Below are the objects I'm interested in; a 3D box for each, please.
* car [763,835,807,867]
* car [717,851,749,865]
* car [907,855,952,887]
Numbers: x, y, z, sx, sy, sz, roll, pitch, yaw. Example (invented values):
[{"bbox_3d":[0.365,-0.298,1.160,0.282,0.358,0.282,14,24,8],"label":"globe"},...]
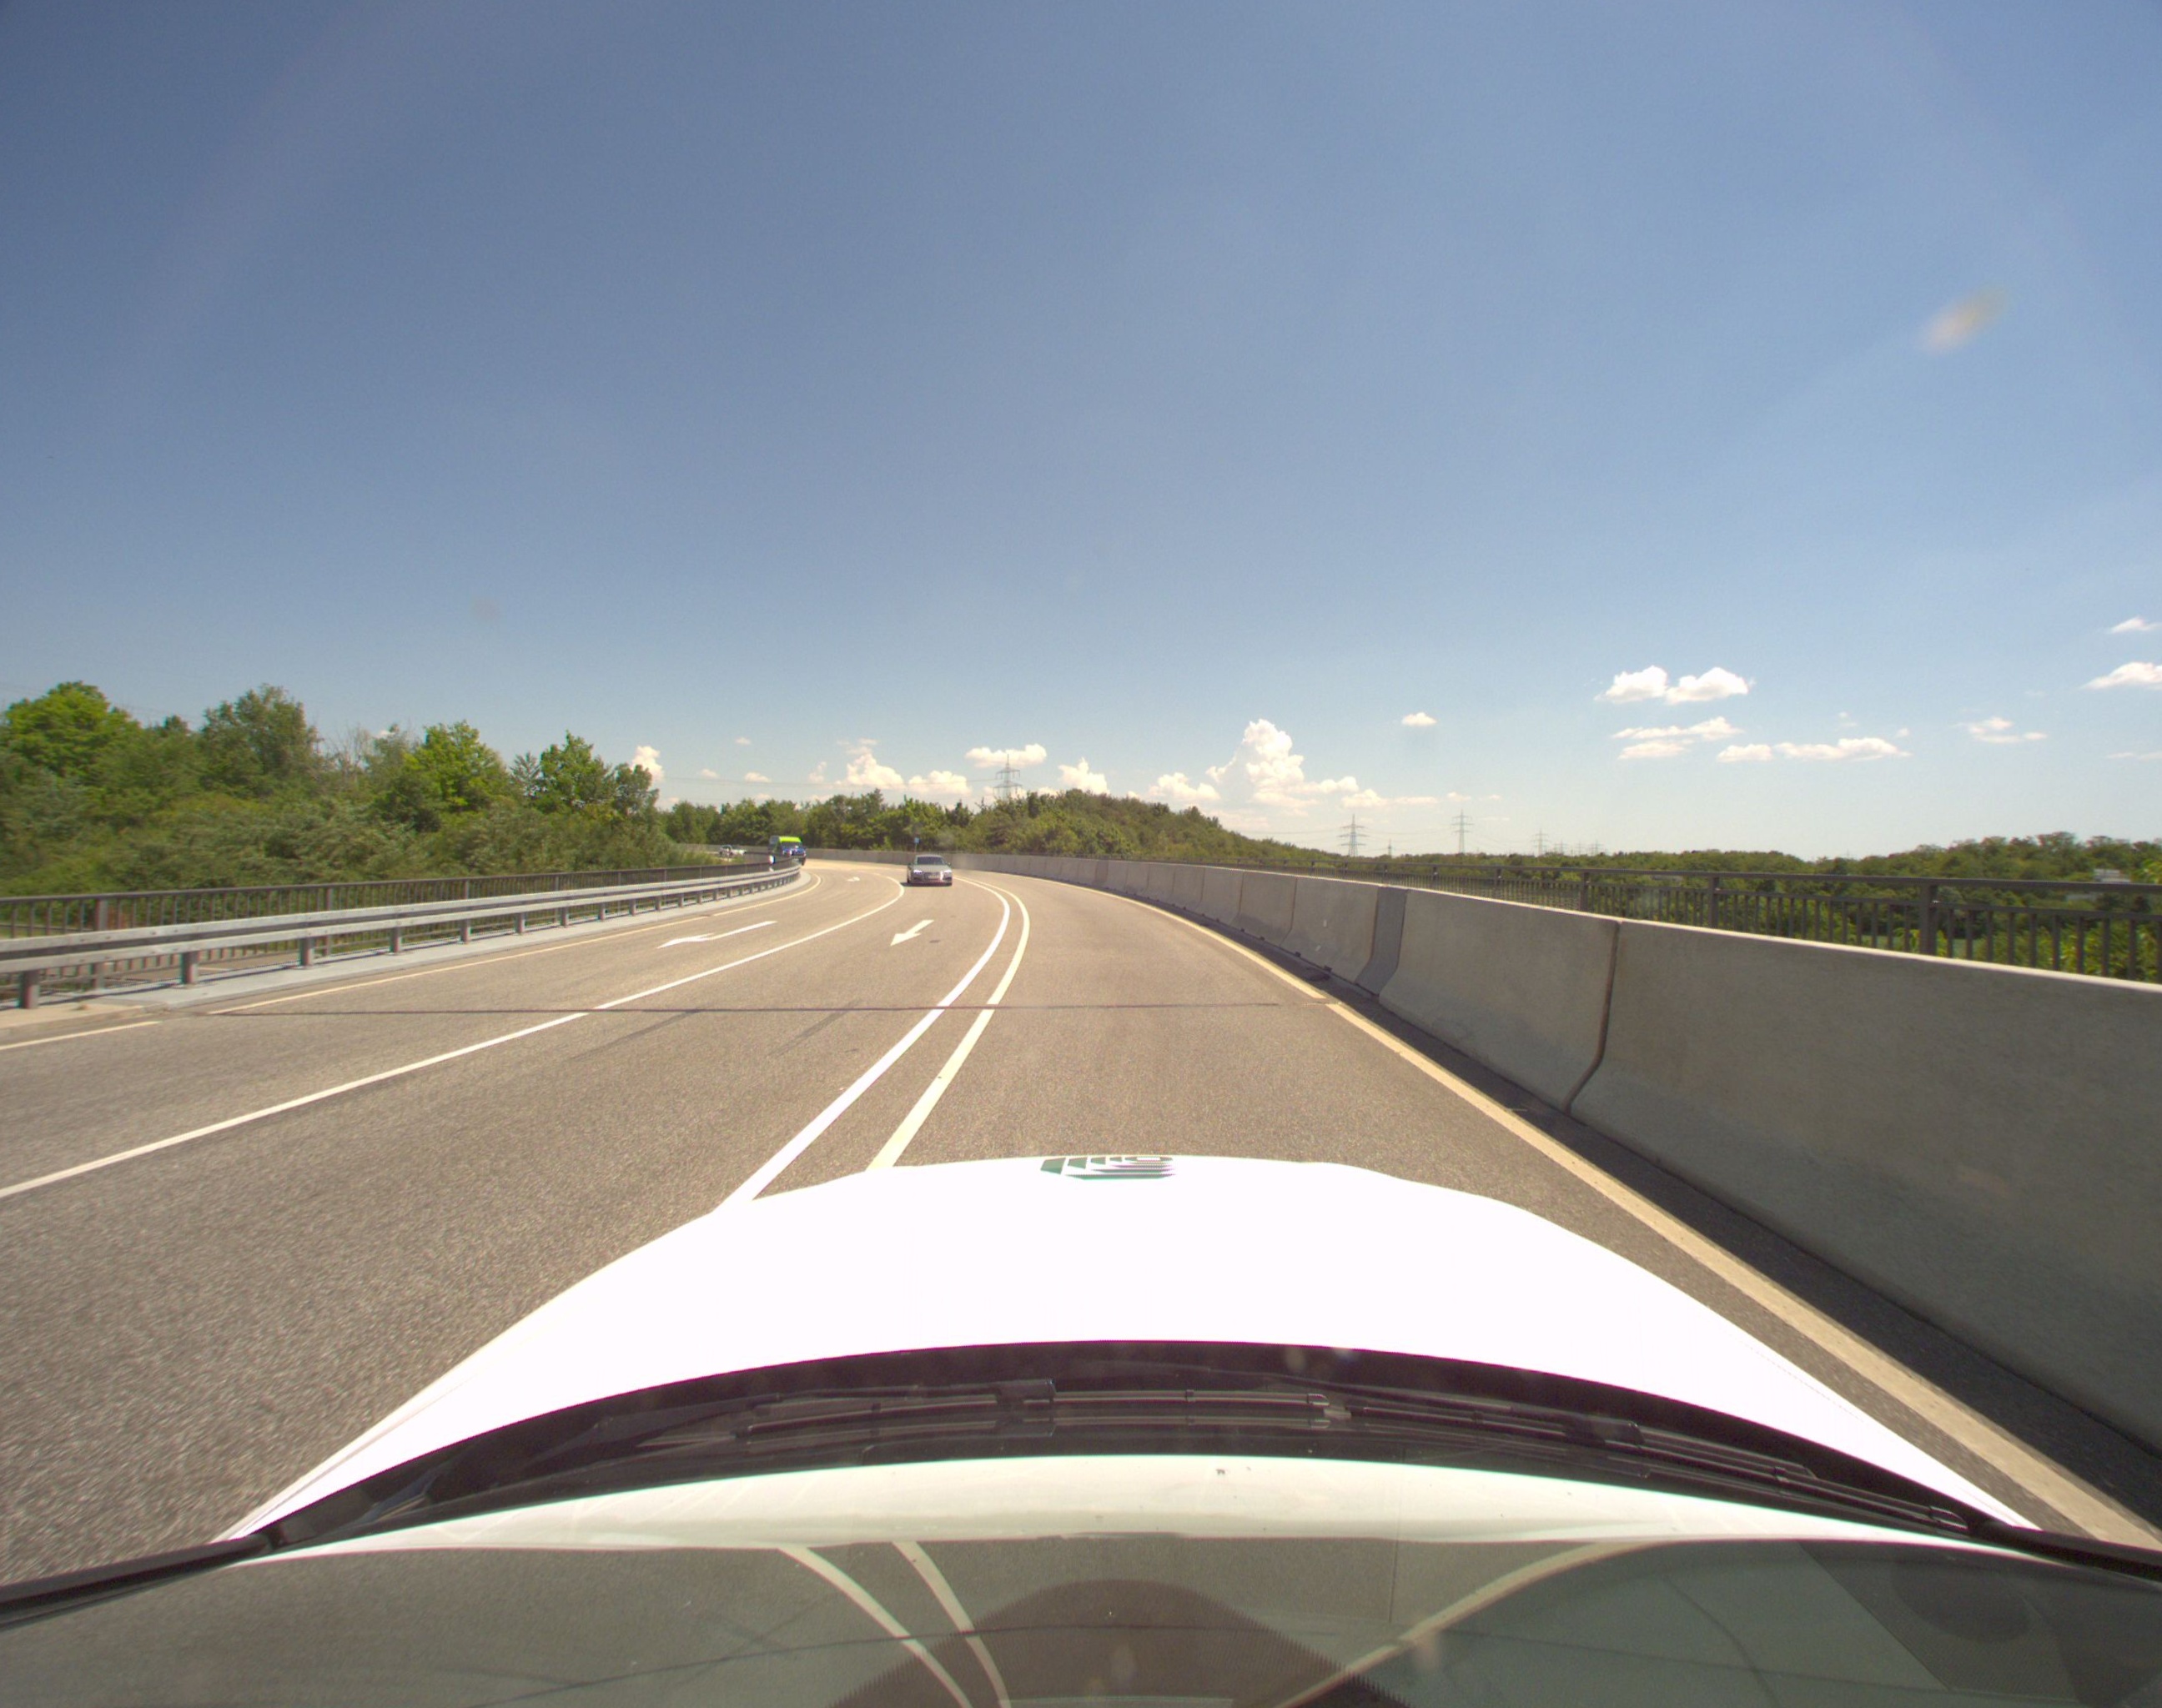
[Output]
[{"bbox_3d":[-25.932,-0.329,71.217,2.009,2.483,5.421,-6,5,-36],"label":"car"},{"bbox_3d":[-39.187,0.477,91.633,4.311,1.459,1.759,-2,1,43],"label":"car"},{"bbox_3d":[-7.102,0.760,37.998,1.781,1.384,4.261,0,0,-14],"label":"car"}]
